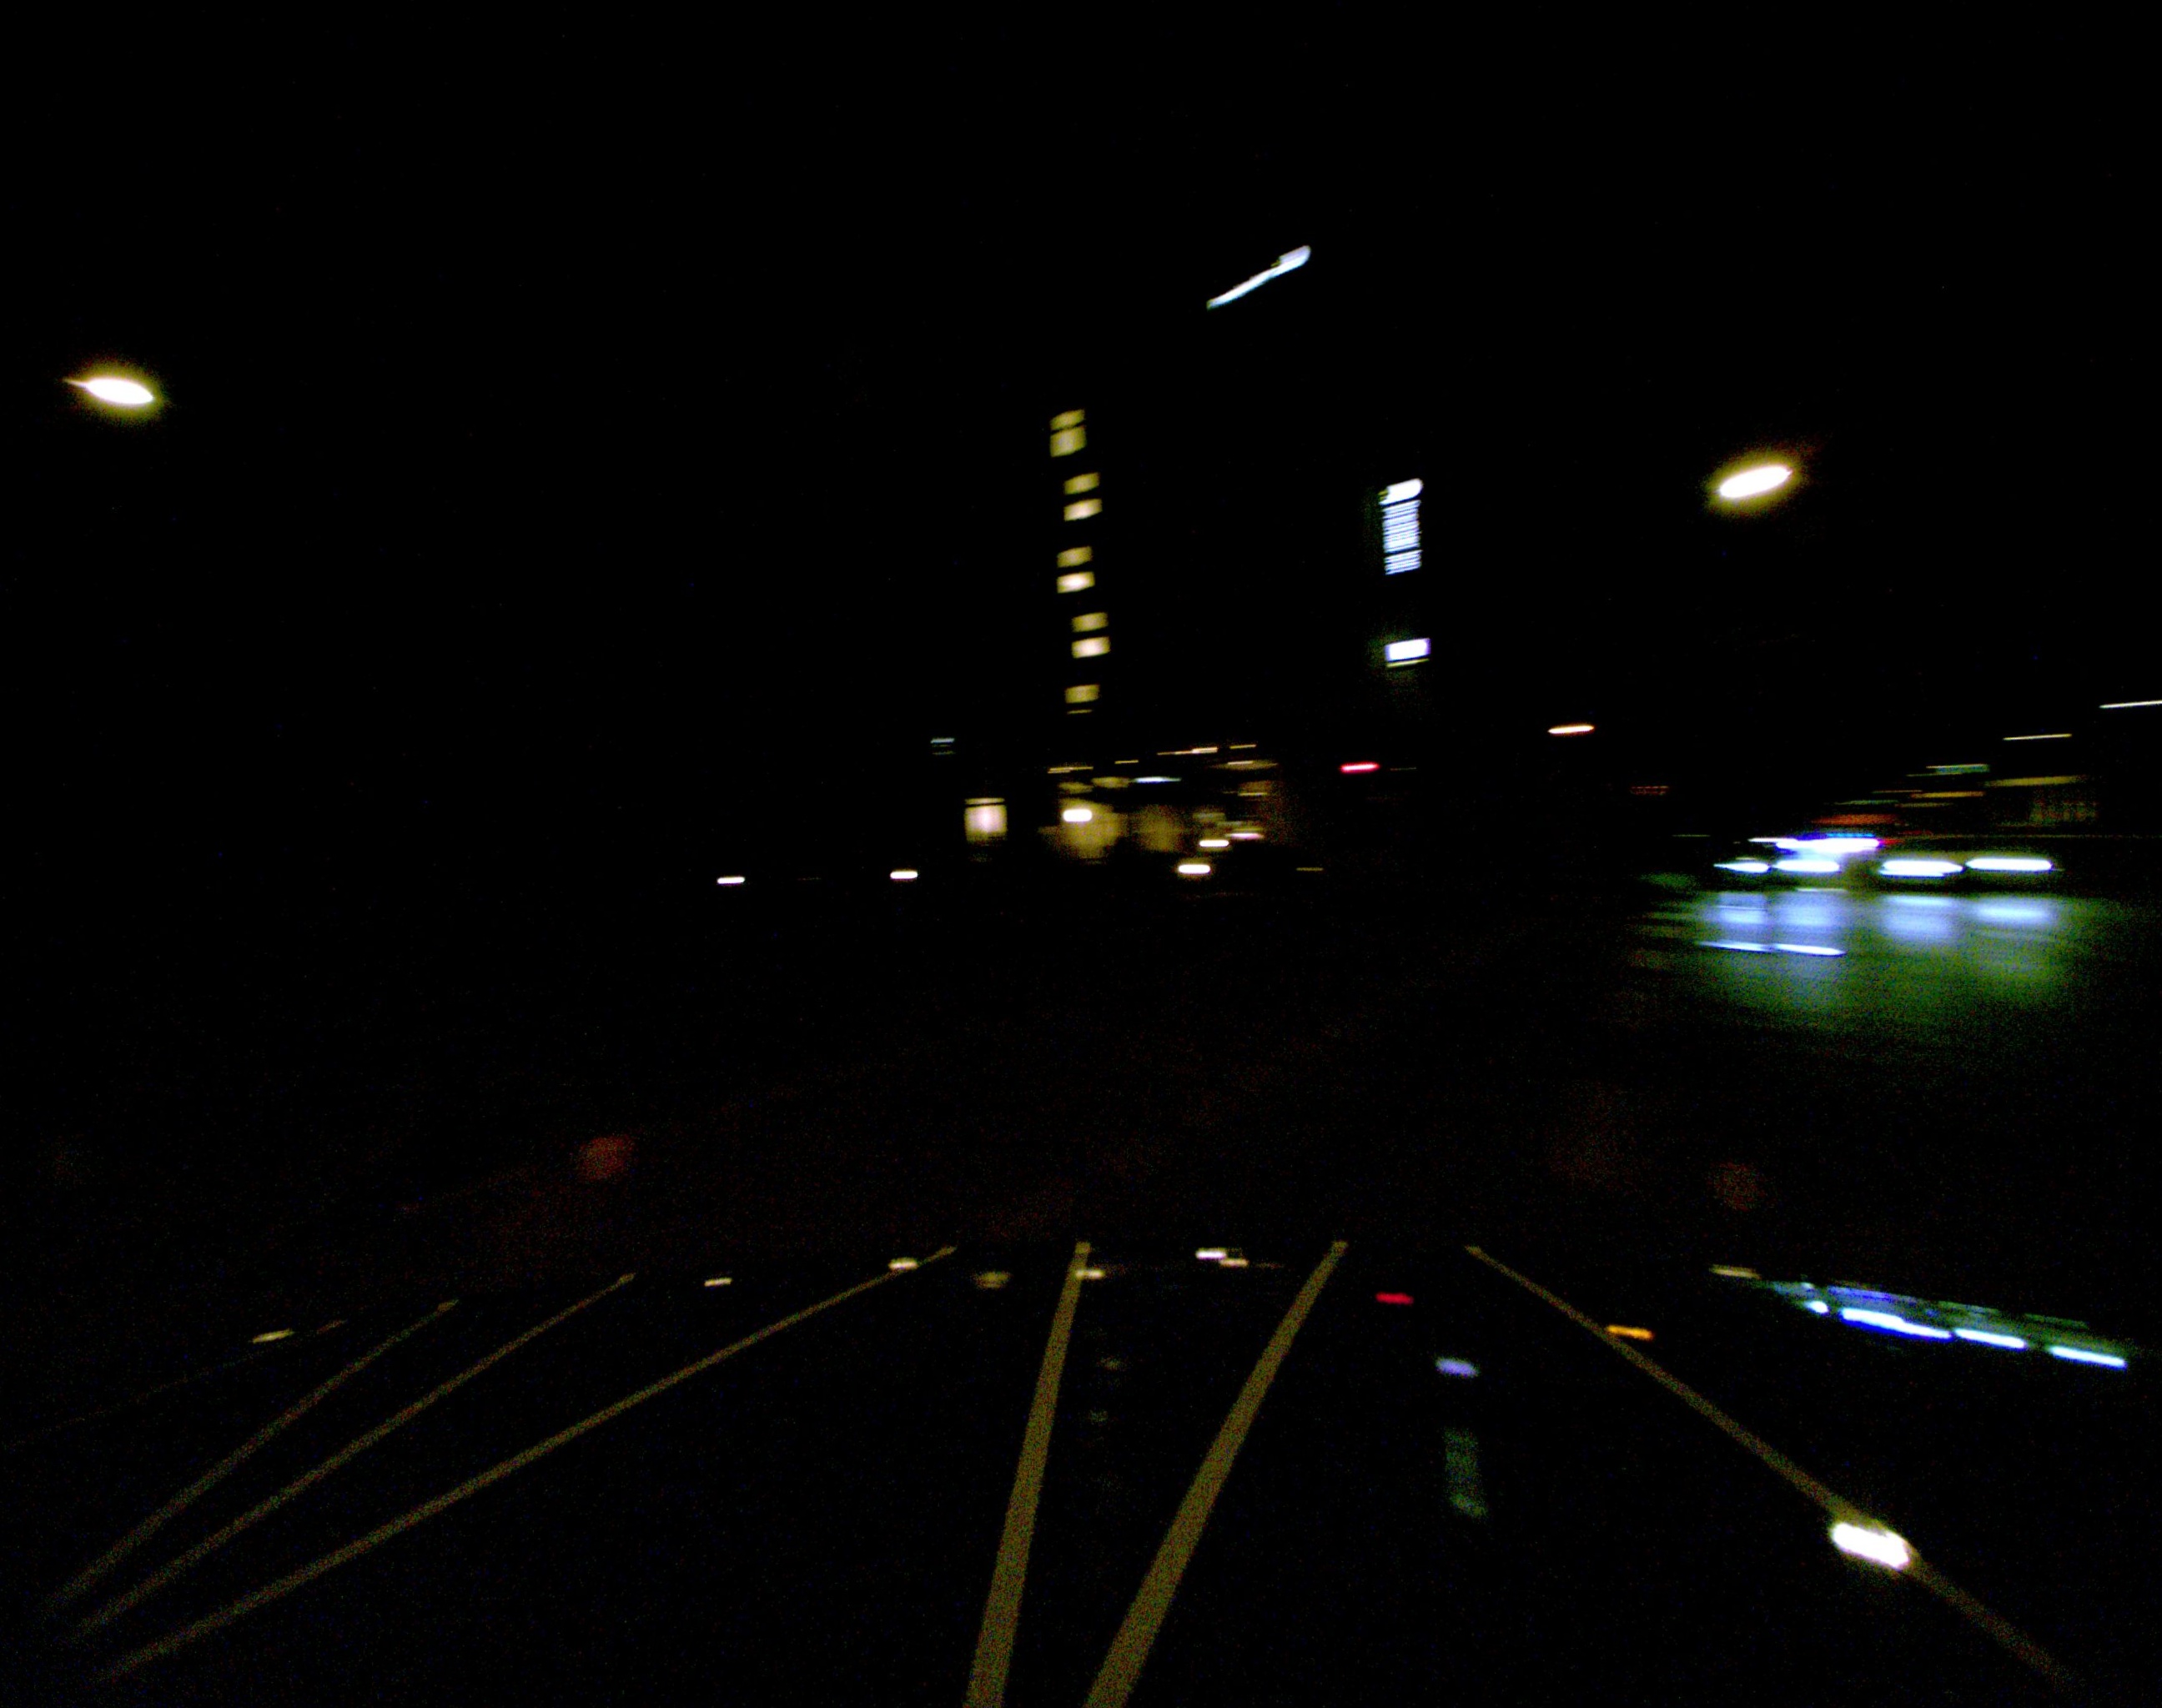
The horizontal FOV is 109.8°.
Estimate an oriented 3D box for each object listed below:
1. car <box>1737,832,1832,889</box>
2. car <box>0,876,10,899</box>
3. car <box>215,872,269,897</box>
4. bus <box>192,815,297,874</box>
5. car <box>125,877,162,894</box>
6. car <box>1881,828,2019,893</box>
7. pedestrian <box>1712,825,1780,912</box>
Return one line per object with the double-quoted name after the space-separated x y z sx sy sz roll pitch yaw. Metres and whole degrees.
21.407 0.170 23.084 4.008 1.562 1.902 -1 0 -44 "car"
-78.553 2.431 54.234 3.988 1.638 2.004 -1 1 41 "car"
-56.956 2.062 51.549 3.989 1.583 1.810 -1 2 34 "car"
-107.808 -1.174 97.842 14.742 6.899 6.150 -1 2 32 "bus"
-90.177 3.046 73.060 4.069 1.484 1.868 -1 2 35 "car"
22.484 0.138 19.823 1.814 1.493 4.209 -4 -1 42 "car"
12.853 0.277 14.712 0.860 1.624 0.672 -1 0 30 "pedestrian"
